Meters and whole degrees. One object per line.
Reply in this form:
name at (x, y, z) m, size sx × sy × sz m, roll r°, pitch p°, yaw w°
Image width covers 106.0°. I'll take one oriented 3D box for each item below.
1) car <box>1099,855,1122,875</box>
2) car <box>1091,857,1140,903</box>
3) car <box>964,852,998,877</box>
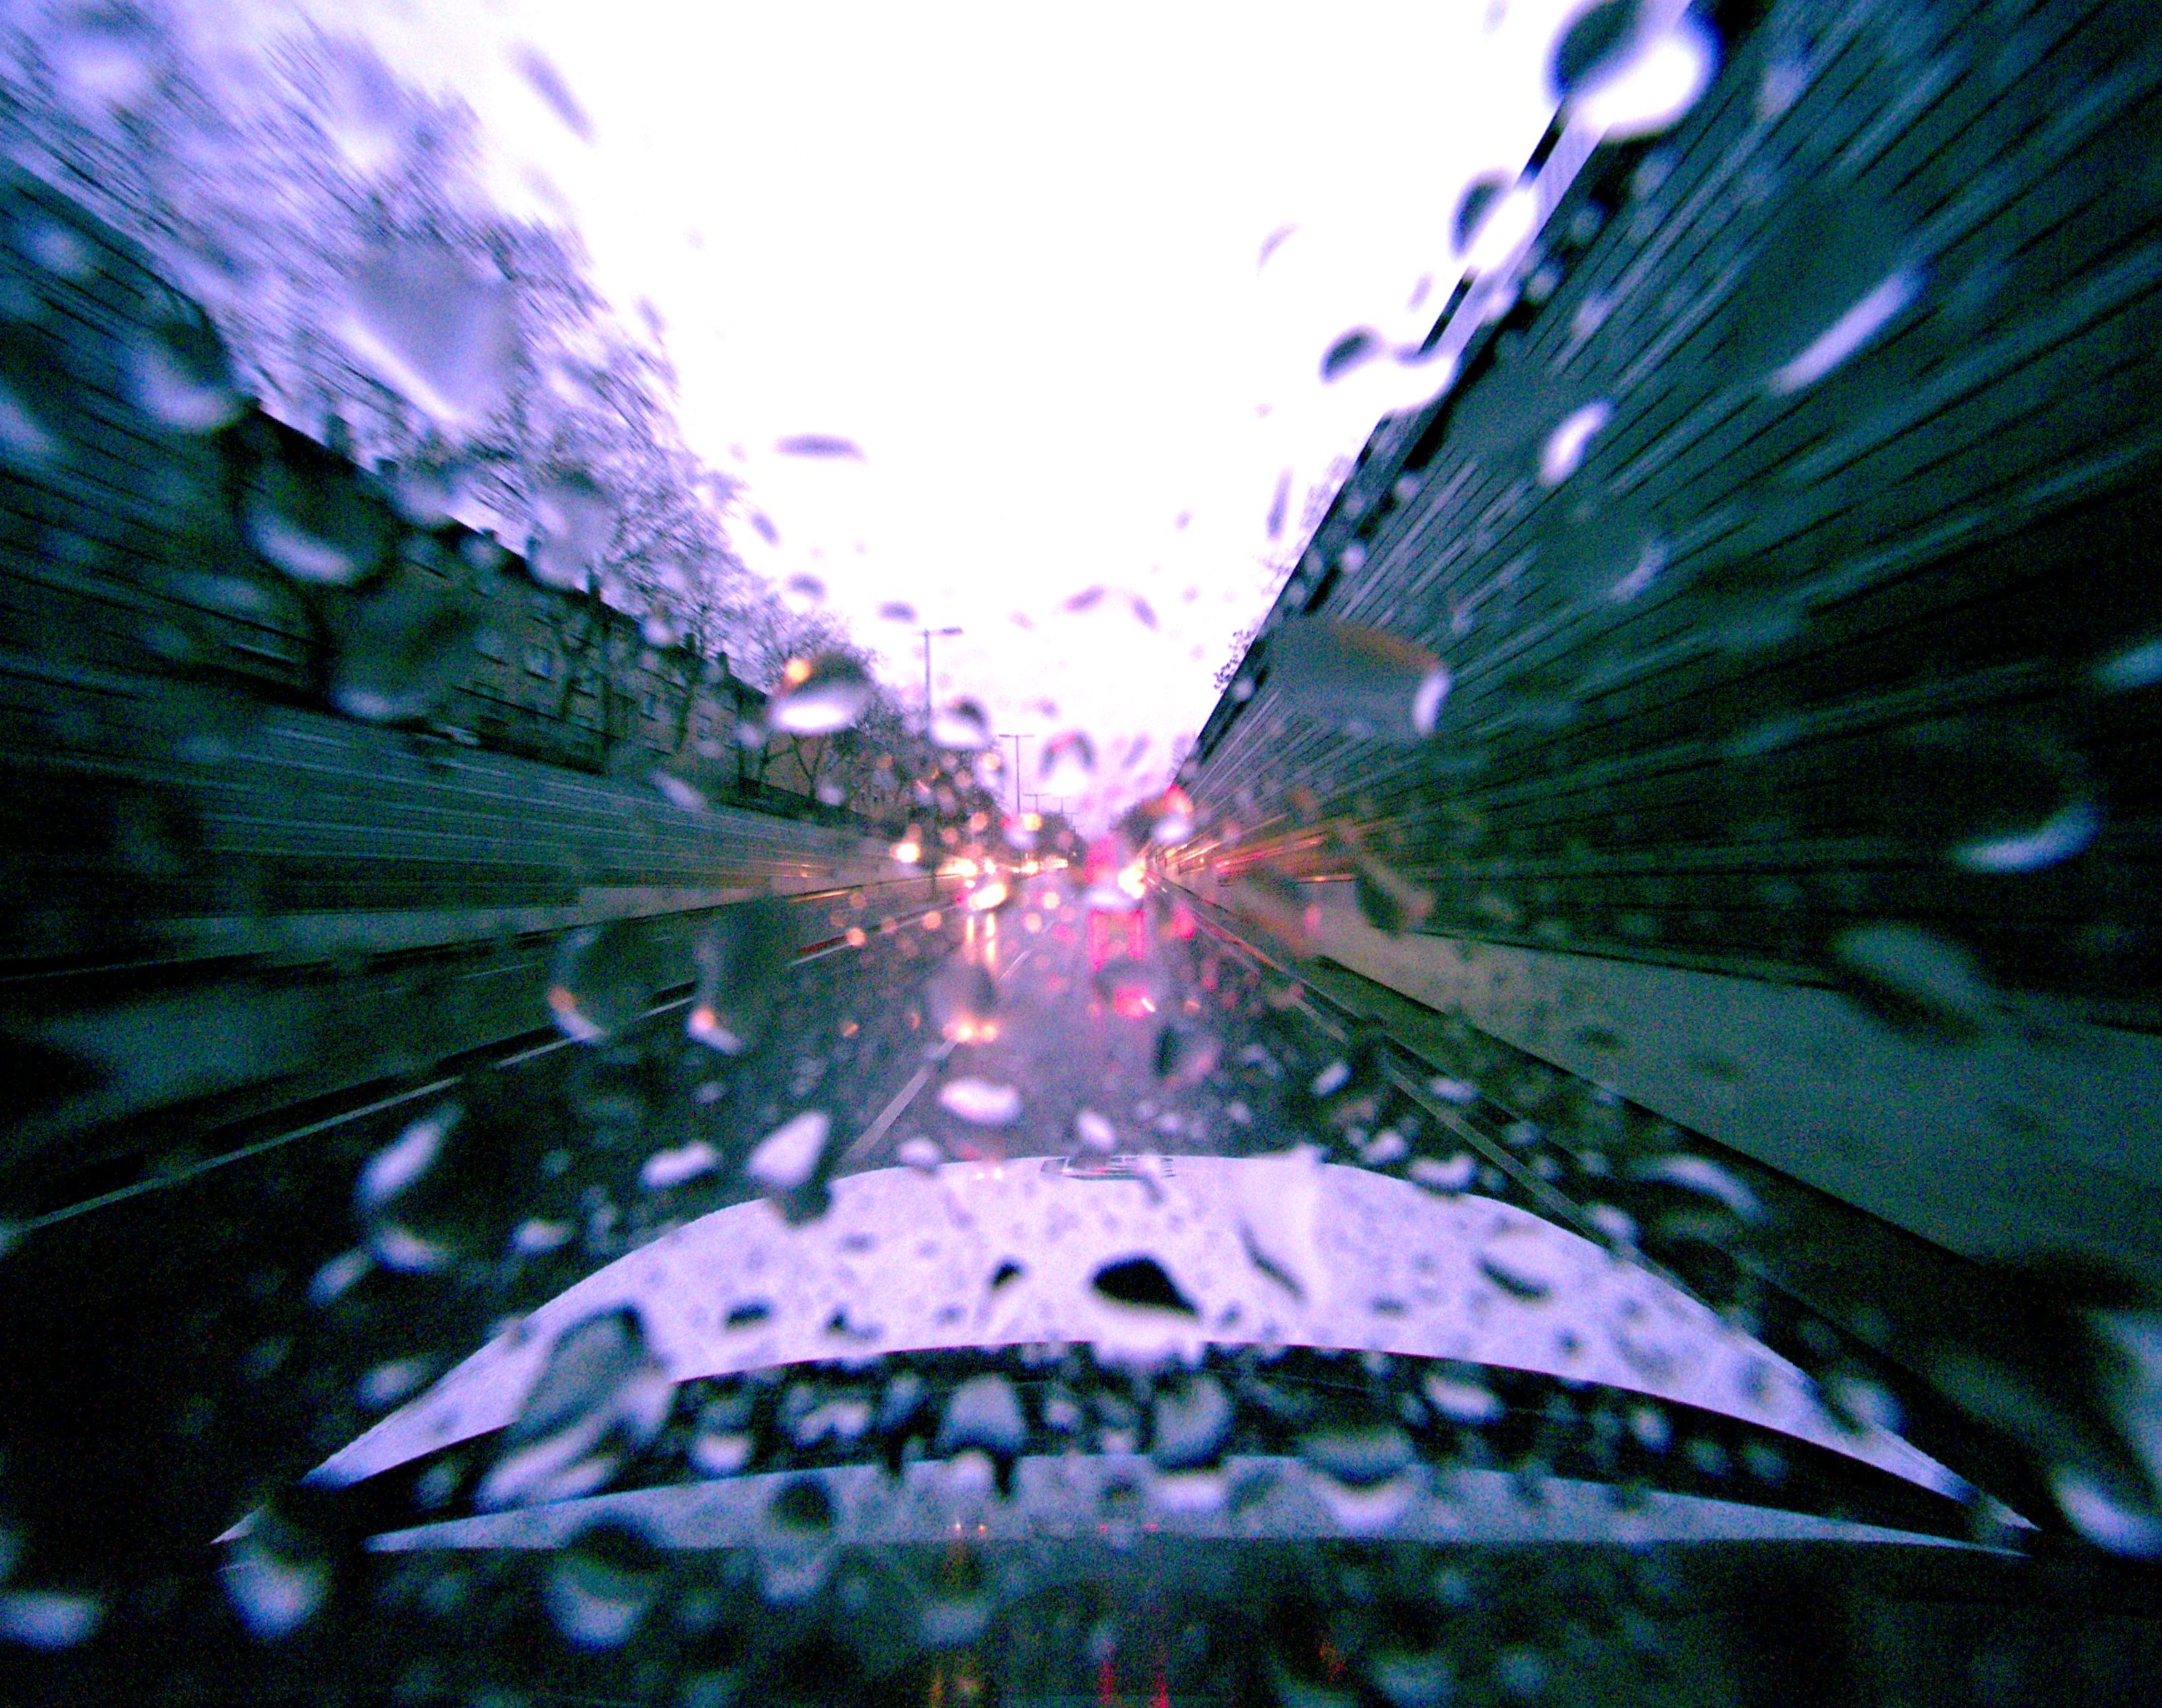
car at (2.513, 0.998, 71.197) m, size 1.874 × 1.621 × 3.998 m, roll 0°, pitch -3°, yaw 0°
car at (1.133, 0.870, 27.043) m, size 1.526 × 1.397 × 3.435 m, roll -1°, pitch -2°, yaw 2°
car at (-6.382, 0.631, 52.301) m, size 1.566 × 1.471 × 3.688 m, roll -2°, pitch 0°, yaw 1°
